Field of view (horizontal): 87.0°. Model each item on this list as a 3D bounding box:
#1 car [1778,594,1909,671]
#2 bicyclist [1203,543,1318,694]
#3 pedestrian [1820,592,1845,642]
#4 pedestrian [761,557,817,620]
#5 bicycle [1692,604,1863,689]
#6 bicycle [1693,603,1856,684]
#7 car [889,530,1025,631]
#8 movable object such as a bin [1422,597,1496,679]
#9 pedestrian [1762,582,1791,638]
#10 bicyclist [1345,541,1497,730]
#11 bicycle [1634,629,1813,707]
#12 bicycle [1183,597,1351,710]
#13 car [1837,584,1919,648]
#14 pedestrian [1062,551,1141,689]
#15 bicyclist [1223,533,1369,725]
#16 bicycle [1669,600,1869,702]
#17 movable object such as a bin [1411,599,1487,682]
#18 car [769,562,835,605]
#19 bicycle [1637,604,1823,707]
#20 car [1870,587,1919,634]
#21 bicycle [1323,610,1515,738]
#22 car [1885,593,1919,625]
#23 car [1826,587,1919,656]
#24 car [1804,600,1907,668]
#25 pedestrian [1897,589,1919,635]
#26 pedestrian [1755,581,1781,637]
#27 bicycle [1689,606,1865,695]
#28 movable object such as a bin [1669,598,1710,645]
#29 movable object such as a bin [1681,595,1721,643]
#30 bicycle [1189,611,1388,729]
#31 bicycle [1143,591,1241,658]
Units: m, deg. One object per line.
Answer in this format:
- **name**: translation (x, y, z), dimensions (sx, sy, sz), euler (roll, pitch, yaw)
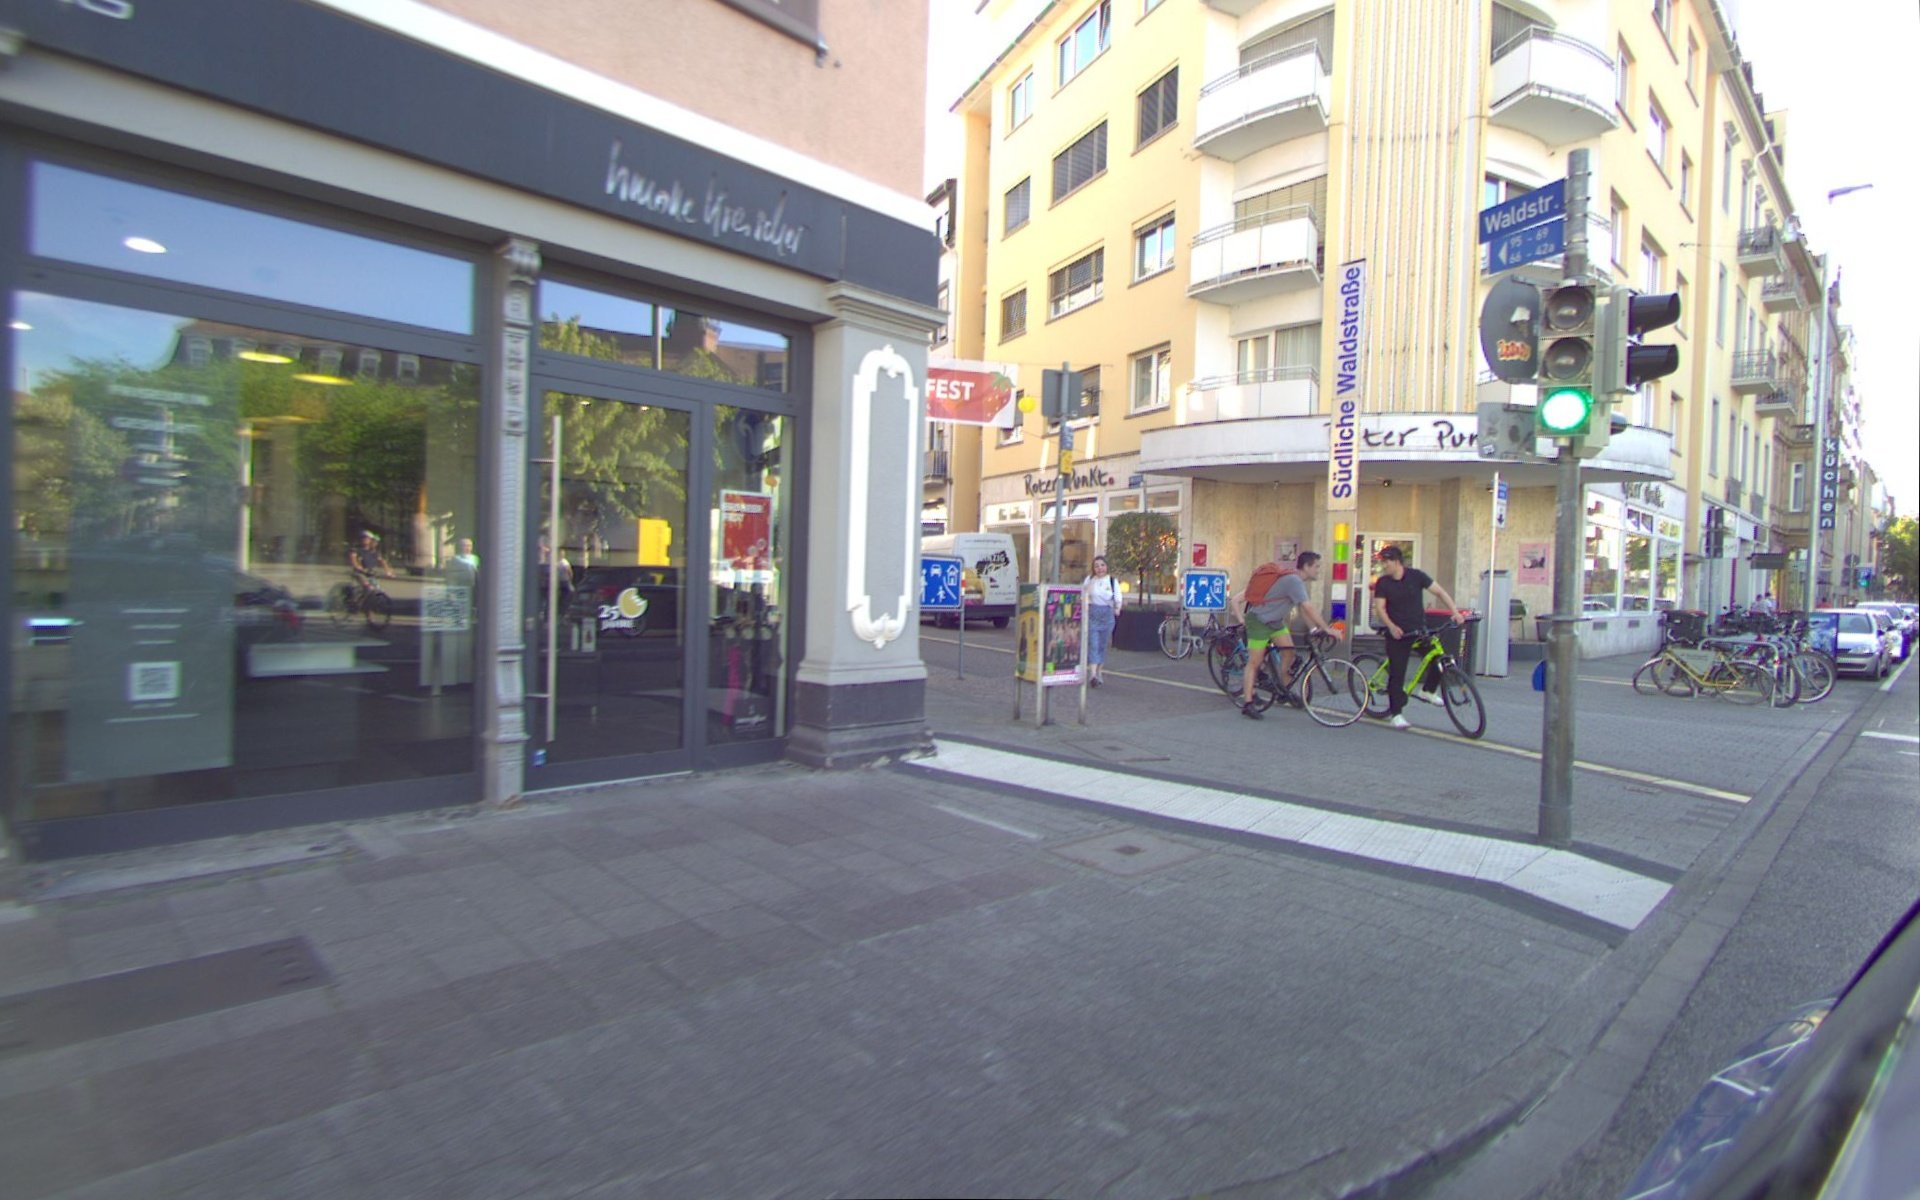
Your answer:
- **car**: translation (18.536, 0.623, 21.178), dimensions (3.933, 1.415, 1.691), euler (0, 2, -44)
- **bicyclist**: translation (3.357, 0.189, 11.369), dimensions (0.711, 1.603, 1.033), euler (1, 1, -23)
- **pedestrian**: translation (34.308, 0.655, 39.788), dimensions (0.692, 1.930, 0.892), euler (2, 1, 42)
- **pedestrian**: translation (-4.206, -0.288, 24.861), dimensions (1.089, 1.498, 1.086), euler (0, 2, -27)
- **bicycle**: translation (13.069, 0.705, 16.236), dimensions (0.704, 1.164, 2.024), euler (1, 2, -43)
- **bicycle**: translation (13.709, 0.704, 17.087), dimensions (0.672, 1.196, 2.046), euler (1, 2, -43)
- **car**: translation (-0.208, -0.566, 27.662), dimensions (2.026, 2.499, 4.706), euler (-1, 2, -23)
- **movable object such as a bin**: translation (7.284, 0.532, 14.774), dimensions (0.808, 1.126, 0.610), euler (2, 1, 44)
- **pedestrian**: translation (28.792, 0.339, 35.690), dimensions (0.692, 1.930, 0.892), euler (2, 1, 42)
- **bicyclist**: translation (4.418, 0.307, 9.771), dimensions (0.711, 1.706, 1.135), euler (1, 1, -17)
- **bicycle**: translation (10.107, 0.874, 13.448), dimensions (1.840, 0.841, 0.731), euler (3, 2, 40)
- **bicycle**: translation (3.392, 0.551, 11.394), dimensions (0.718, 1.110, 1.924), euler (1, 1, -23)
- **car**: translation (30.088, 0.482, 33.036), dimensions (1.990, 1.902, 3.944), euler (2, 1, 39)
- **pedestrian**: translation (1.780, 0.238, 12.794), dimensions (0.750, 1.679, 0.817), euler (1, 0, -8)
- **bicyclist**: translation (3.335, 0.251, 10.069), dimensions (1.137, 1.783, 0.742), euler (2, 1, 41)
- **bicycle**: translation (11.391, 0.674, 14.323), dimensions (2.135, 1.259, 0.700), euler (3, 2, 41)
- **movable object such as a bin**: translation (6.945, 0.554, 14.370), dimensions (0.808, 1.126, 0.610), euler (2, 1, 44)
- **car**: translation (-6.650, -0.711, 42.278), dimensions (1.860, 1.660, 4.124), euler (1, 1, -21)
- **bicycle**: translation (10.500, 0.707, 13.846), dimensions (1.938, 1.227, 0.919), euler (3, 2, 40)
- **car**: translation (43.525, 0.484, 46.780), dimensions (1.994, 2.039, 4.126), euler (3, 2, 44)
- **bicycle**: translation (4.441, 0.670, 9.964), dimensions (0.548, 1.032, 1.920), euler (1, 2, -17)
- **car**: translation (54.946, 0.503, 58.487), dimensions (3.934, 1.749, 1.995), euler (0, 2, -45)
- **car**: translation (25.901, 0.552, 28.581), dimensions (1.993, 1.756, 4.133), euler (3, 2, 43)
- **car**: translation (21.734, 0.757, 24.562), dimensions (1.736, 1.443, 3.939), euler (3, 2, 42)
- **pedestrian**: translation (40.934, 0.517, 43.594), dimensions (0.700, 1.947, 0.612), euler (1, 1, -33)
- **pedestrian**: translation (29.092, 0.301, 36.433), dimensions (0.671, 1.978, 0.605), euler (2, 1, 42)
- **bicycle**: translation (12.252, 0.716, 15.225), dimensions (0.742, 1.172, 1.959), euler (1, 2, -44)
- **movable object such as a bin**: translation (19.041, 0.540, 26.405), dimensions (0.945, 1.175, 0.702), euler (1, 1, -44)
- **movable object such as a bin**: translation (20.253, 0.506, 27.654), dimensions (0.945, 1.255, 0.702), euler (1, 1, -44)
- **bicycle**: translation (3.266, 0.656, 10.173), dimensions (1.815, 1.006, 0.556), euler (3, 1, 42)
- **bicycle**: translation (4.054, 0.415, 17.670), dimensions (1.714, 1.102, 0.562), euler (1, 1, -29)
